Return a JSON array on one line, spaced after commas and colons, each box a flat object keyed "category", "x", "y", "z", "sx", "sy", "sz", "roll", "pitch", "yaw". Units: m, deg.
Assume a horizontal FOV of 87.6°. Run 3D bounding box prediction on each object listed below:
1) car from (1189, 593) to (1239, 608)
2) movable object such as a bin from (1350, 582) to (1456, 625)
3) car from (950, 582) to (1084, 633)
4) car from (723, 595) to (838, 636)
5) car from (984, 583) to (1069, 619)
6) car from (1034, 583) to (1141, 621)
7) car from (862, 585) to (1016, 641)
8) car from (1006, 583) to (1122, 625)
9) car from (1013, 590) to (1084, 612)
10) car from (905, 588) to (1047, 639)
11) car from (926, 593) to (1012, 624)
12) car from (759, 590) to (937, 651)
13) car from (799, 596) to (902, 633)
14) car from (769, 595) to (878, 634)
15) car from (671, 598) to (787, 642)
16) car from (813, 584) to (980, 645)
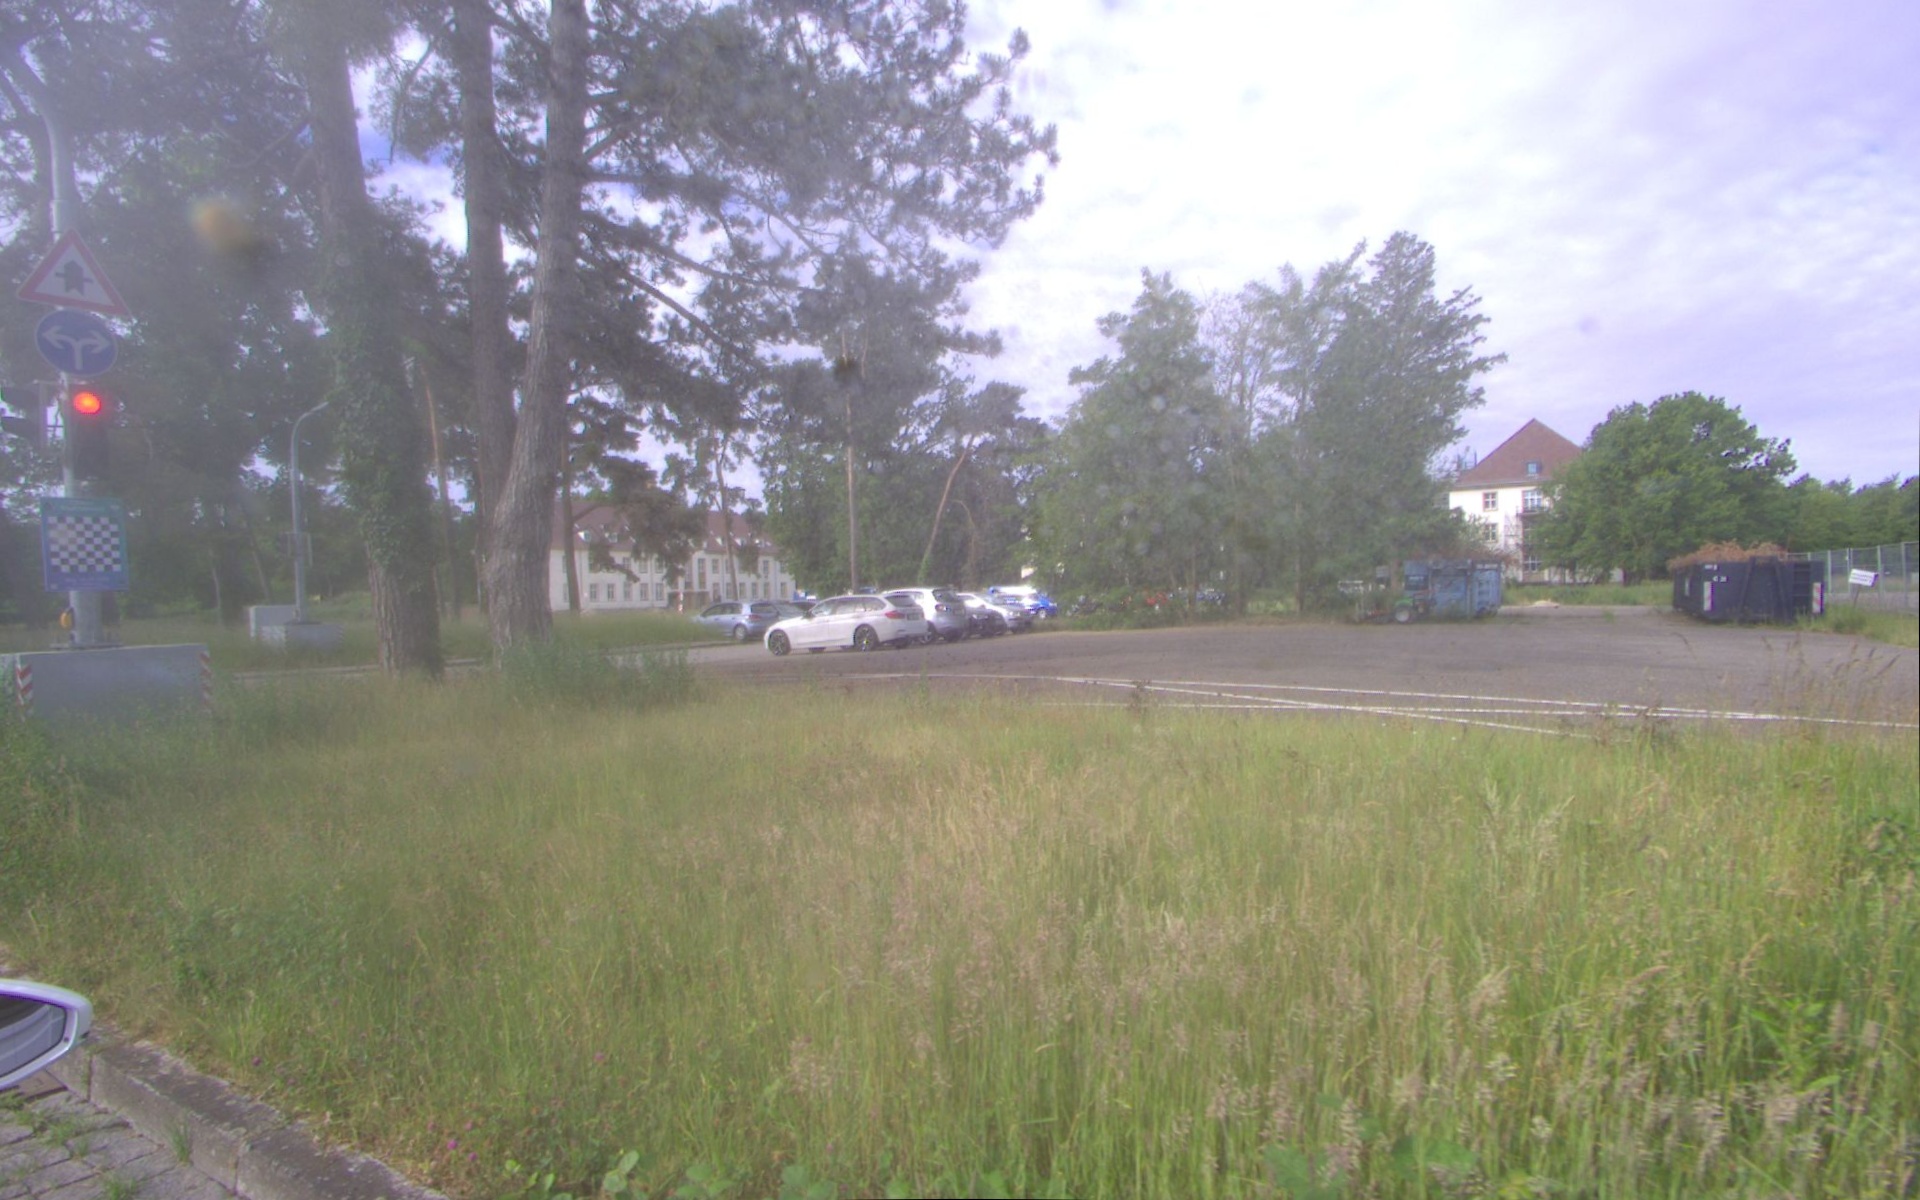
[{"category": "car", "x": 21.893, "y": 0.036, "z": 86.303, "sx": 3.937, "sy": 1.226, "sz": 1.656, "roll": -1, "pitch": 1, "yaw": 27}, {"category": "movable object such as a bin", "x": 11.997, "y": 0.077, "z": 27.132, "sx": 2.505, "sy": 1.098, "sz": 1.060, "roll": 0, "pitch": 2, "yaw": 31}, {"category": "car", "x": 2.003, "y": 0.273, "z": 35.424, "sx": 4.380, "sy": 1.709, "sz": 1.864, "roll": -1, "pitch": 1, "yaw": 29}, {"category": "car", "x": -7.218, "y": 0.622, "z": 40.139, "sx": 4.379, "sy": 1.544, "sz": 1.750, "roll": -1, "pitch": 1, "yaw": 28}, {"category": "car", "x": 3.823, "y": 0.071, "z": 57.889, "sx": 4.586, "sy": 1.994, "sz": 1.750, "roll": -1, "pitch": 1, "yaw": 29}, {"category": "car", "x": 5.750, "y": 0.081, "z": 45.257, "sx": 4.380, "sy": 1.598, "sz": 1.864, "roll": -1, "pitch": 1, "yaw": 29}, {"category": "car", "x": -0.660, "y": 0.394, "z": 30.798, "sx": 4.380, "sy": 1.598, "sz": 1.864, "roll": -1, "pitch": 1, "yaw": 29}, {"category": "car", "x": 4.297, "y": 0.166, "z": 41.336, "sx": 4.380, "sy": 1.598, "sz": 1.864, "roll": -1, "pitch": 1, "yaw": 29}, {"category": "car", "x": 5.321, "y": 0.065, "z": 60.159, "sx": 3.941, "sy": 1.226, "sz": 1.654, "roll": -1, "pitch": 1, "yaw": 31}, {"category": "car", "x": 0.511, "y": 0.442, "z": 33.419, "sx": 4.380, "sy": 1.598, "sz": 1.864, "roll": -1, "pitch": 1, "yaw": 29}, {"category": "car", "x": 0.487, "y": 0.466, "z": 54.544, "sx": 4.380, "sy": 1.544, "sz": 1.750, "roll": -1, "pitch": 1, "yaw": 29}, {"category": "car", "x": -2.931, "y": 0.552, "z": 26.007, "sx": 4.380, "sy": 1.434, "sz": 1.750, "roll": -2, "pitch": 1, "yaw": 29}, {"category": "car", "x": -4.939, "y": 0.657, "z": 44.889, "sx": 4.380, "sy": 1.544, "sz": 1.750, "roll": -1, "pitch": 1, "yaw": 29}, {"category": "car", "x": -5.793, "y": 0.637, "z": 42.384, "sx": 4.380, "sy": 1.544, "sz": 1.750, "roll": -1, "pitch": 1, "yaw": 29}, {"category": "car", "x": -8.854, "y": 0.767, "z": 38.294, "sx": 4.386, "sy": 1.544, "sz": 1.747, "roll": -1, "pitch": 1, "yaw": 33}, {"category": "car", "x": -1.812, "y": 0.402, "z": 28.347, "sx": 4.380, "sy": 1.598, "sz": 1.864, "roll": -1, "pitch": 1, "yaw": 29}]
